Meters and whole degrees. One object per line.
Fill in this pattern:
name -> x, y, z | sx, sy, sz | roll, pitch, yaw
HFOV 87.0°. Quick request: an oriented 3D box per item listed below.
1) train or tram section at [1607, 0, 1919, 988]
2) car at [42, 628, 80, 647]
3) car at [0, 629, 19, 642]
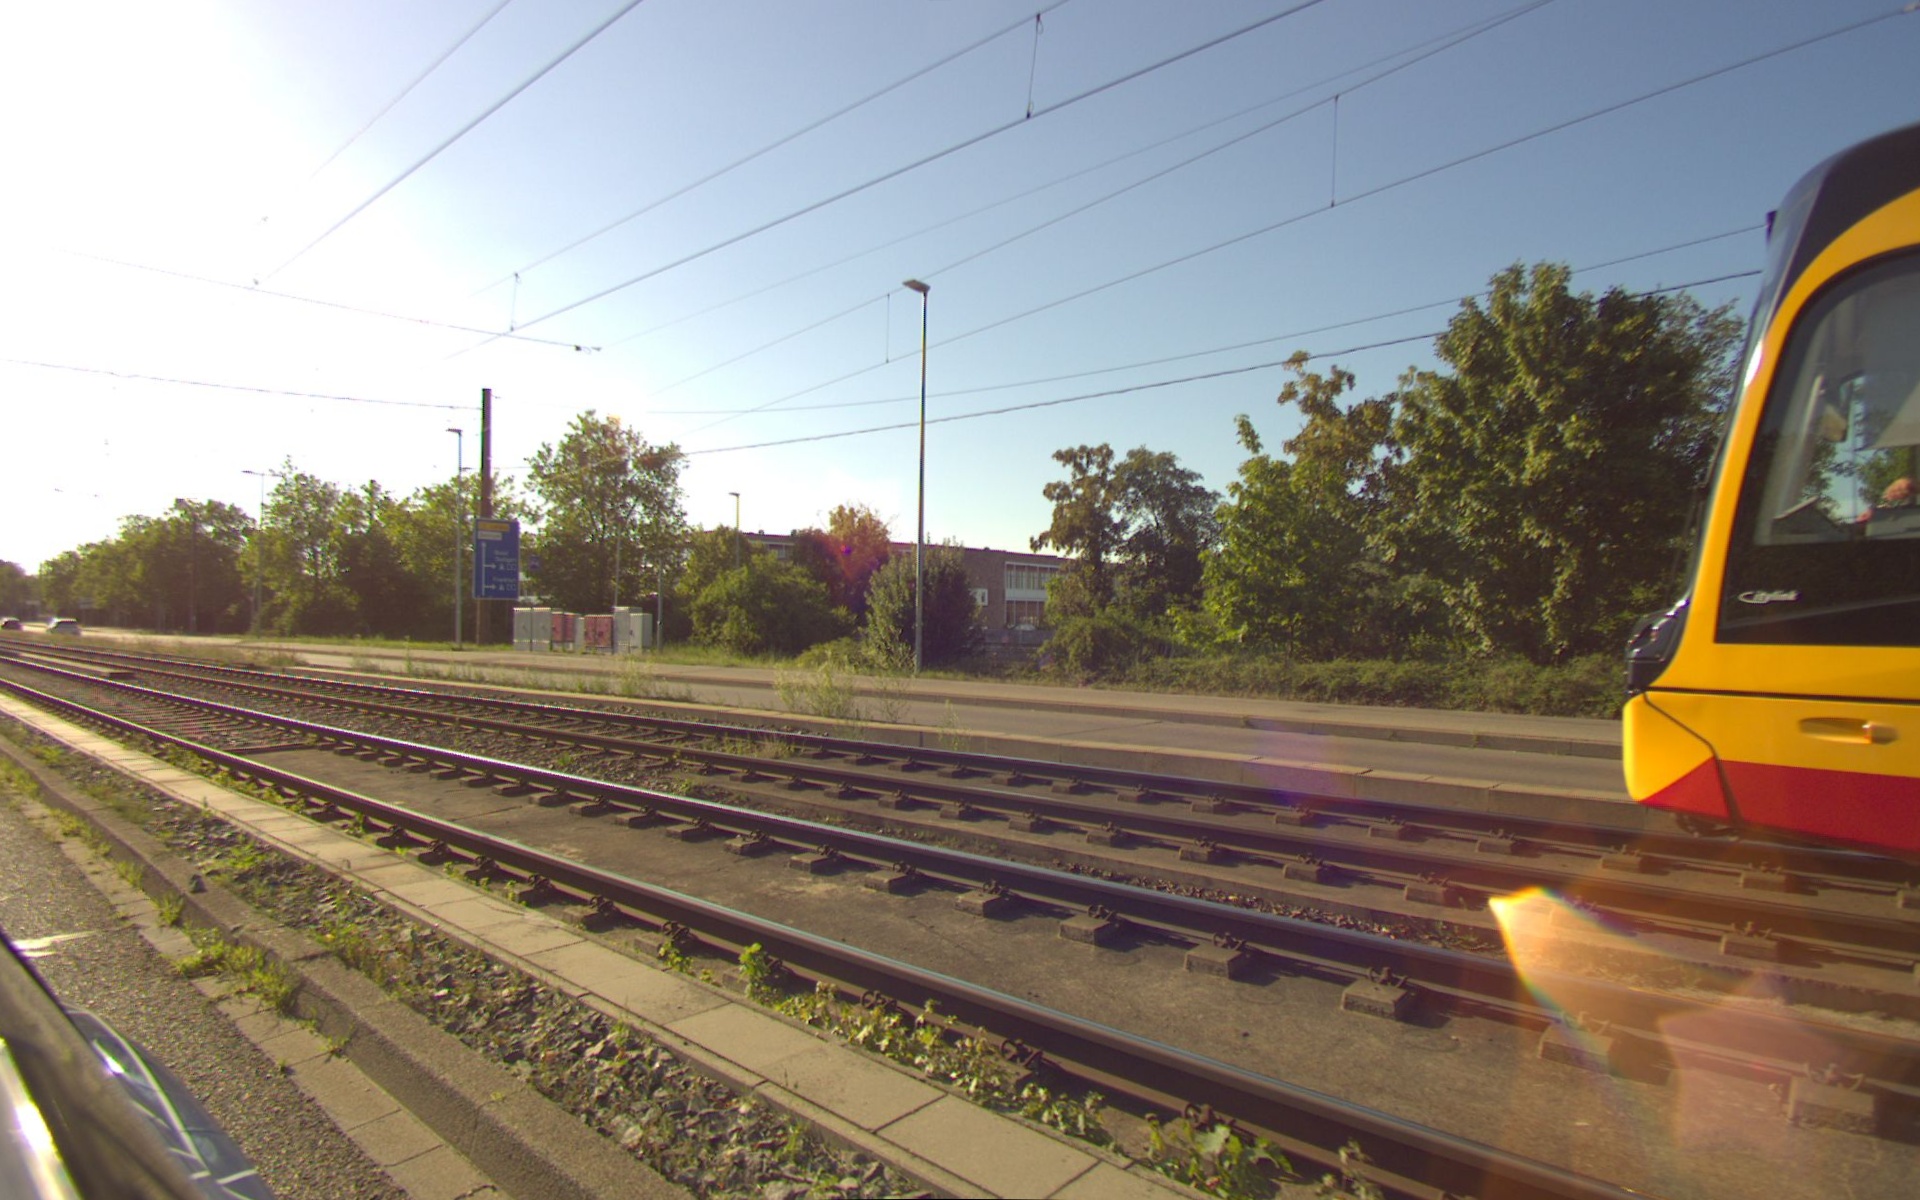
train or tram section -> 8.686, -0.626, 1.135 | 13.076, 3.930, 2.972 | -2, -2, 42
car -> -70.542, 2.905, 79.360 | 3.998, 1.363, 1.778 | -1, 0, 42
car -> -104.085, 3.894, 110.341 | 3.998, 1.363, 1.778 | -1, 0, 42
